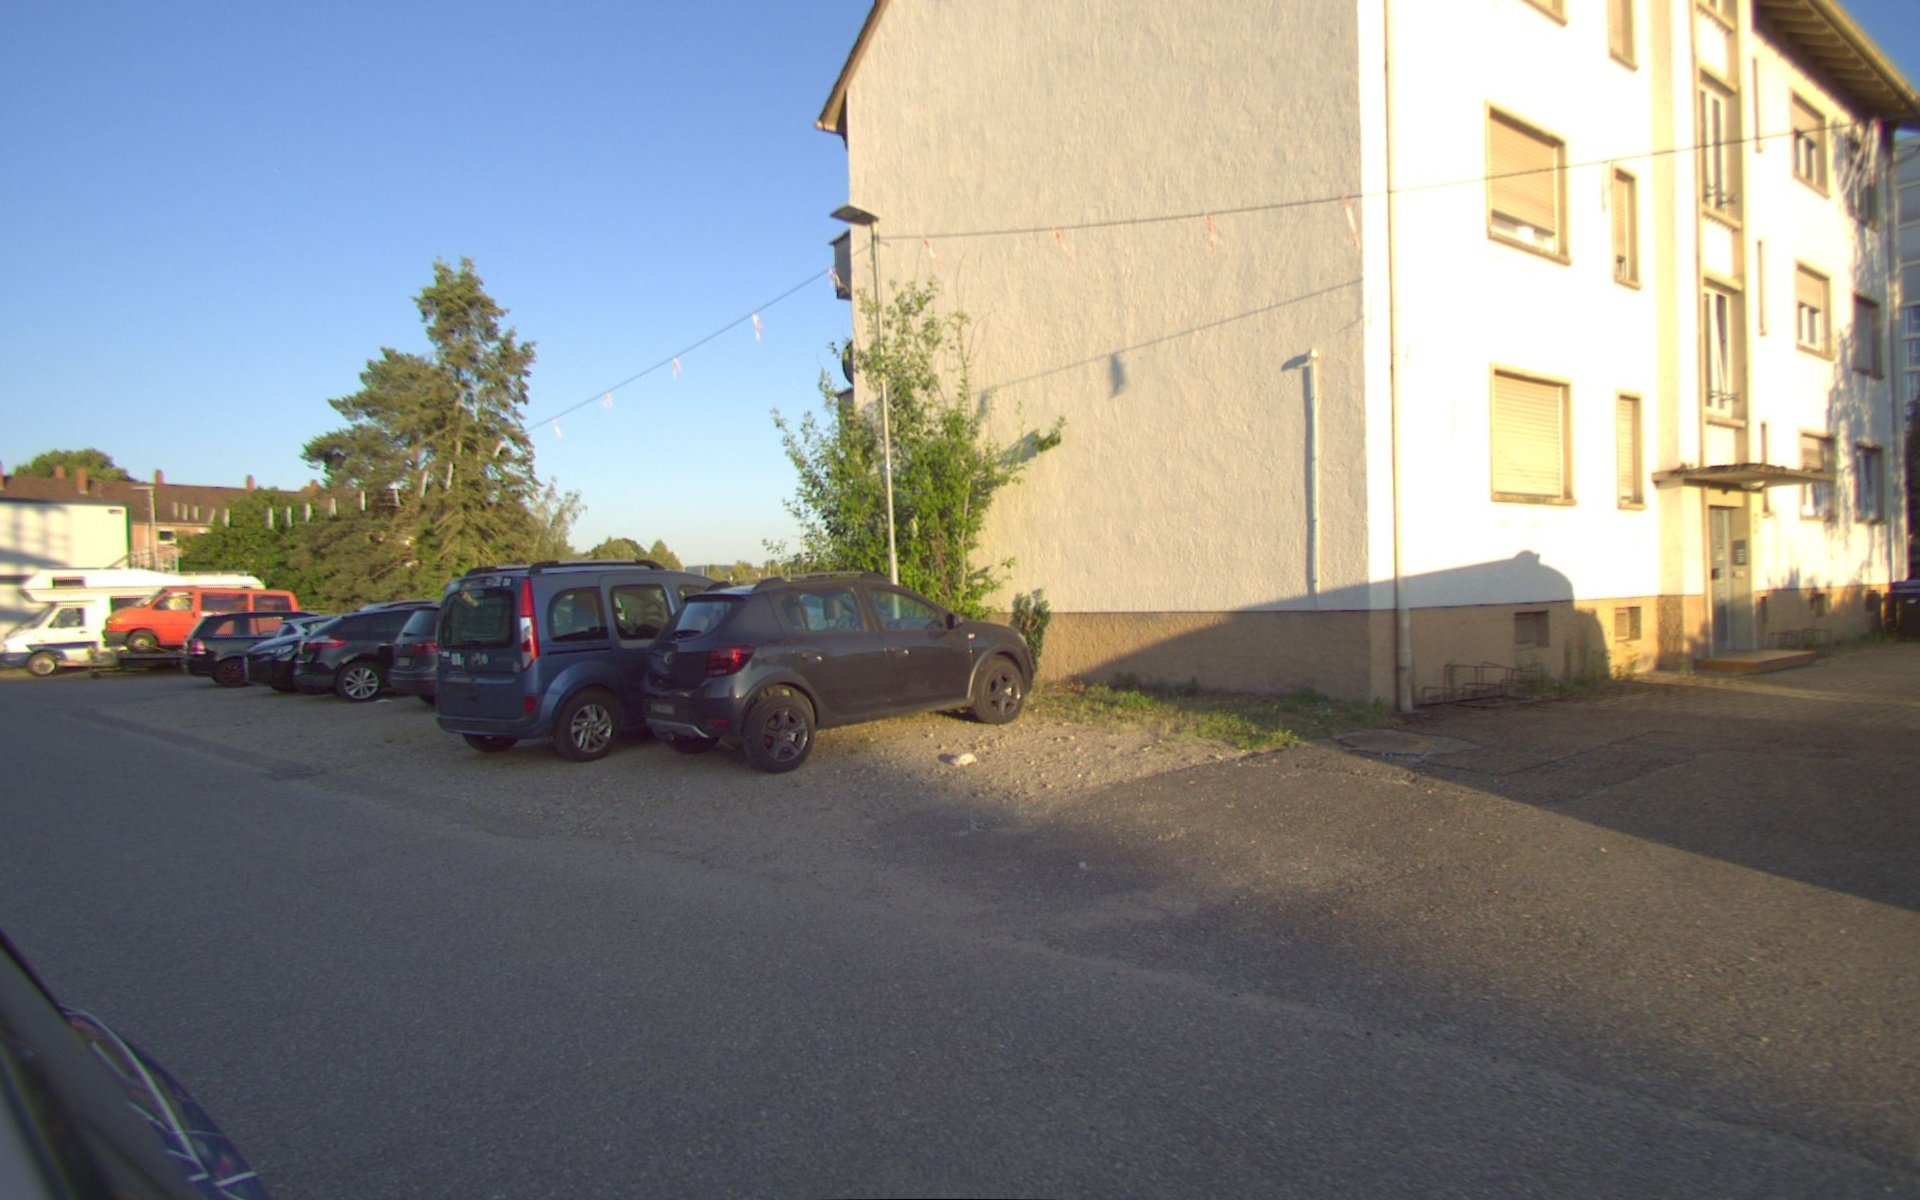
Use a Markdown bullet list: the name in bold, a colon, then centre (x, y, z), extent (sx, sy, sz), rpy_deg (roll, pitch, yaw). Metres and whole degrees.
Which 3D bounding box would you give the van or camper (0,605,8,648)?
- **van or camper**: centre (-62.458, 1.823, 61.481), extent (2.406, 2.659, 6.388), rpy_deg (-2, 2, 41)

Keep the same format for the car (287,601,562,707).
- **car**: centre (-9.083, 0.825, 17.338), extent (3.877, 1.528, 1.646), rpy_deg (-2, 1, -41)

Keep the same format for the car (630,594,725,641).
- **car**: centre (-10.856, 0.673, 38.828), extent (1.822, 1.681, 3.941), rpy_deg (-2, 0, -44)

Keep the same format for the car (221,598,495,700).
- **car**: centre (-11.172, 0.860, 18.973), extent (1.820, 1.640, 4.045), rpy_deg (-4, -2, 42)

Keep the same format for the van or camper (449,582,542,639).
- **van or camper**: centre (-23.997, 0.534, 52.208), extent (5.799, 2.791, 2.231), rpy_deg (-1, 0, 42)

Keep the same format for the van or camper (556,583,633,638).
- **van or camper**: centre (-19.414, 0.547, 53.592), extent (2.174, 2.728, 5.760), rpy_deg (-2, 0, -37)

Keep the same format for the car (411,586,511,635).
- **car**: centre (-16.847, 0.354, 34.074), extent (1.822, 1.534, 3.940), rpy_deg (-2, 0, -45)

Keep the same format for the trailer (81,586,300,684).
- **trailer**: centre (-22.037, 0.891, 29.107), extent (4.736, 2.450, 2.136), rpy_deg (-3, 3, -43)

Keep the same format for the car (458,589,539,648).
- **car**: centre (-19.075, 0.790, 41.713), extent (1.820, 2.165, 4.830), rpy_deg (-2, -2, -39)

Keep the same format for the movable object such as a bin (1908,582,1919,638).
- **movable object such as a bin**: centre (16.978, 0.169, 17.780), extent (0.441, 0.975, 0.322), rpy_deg (-2, -1, 41)

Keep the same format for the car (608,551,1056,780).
- **car**: centre (-1.073, 0.456, 9.664), extent (3.879, 1.664, 1.750), rpy_deg (-4, 2, -42)

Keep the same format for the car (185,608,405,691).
- **car**: centre (-15.229, 1.064, 23.273), extent (3.987, 1.632, 1.852), rpy_deg (-2, 0, -41)

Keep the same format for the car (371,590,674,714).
- **car**: centre (-6.540, 0.699, 15.380), extent (3.879, 1.592, 1.645), rpy_deg (-2, -1, -43)

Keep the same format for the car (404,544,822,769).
- **car**: centre (-3.441, 0.420, 10.746), extent (1.742, 1.925, 3.896), rpy_deg (-2, 1, 32)

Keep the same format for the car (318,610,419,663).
- **car**: centre (-18.913, 1.121, 32.281), extent (1.822, 1.534, 3.940), rpy_deg (-2, 0, -45)

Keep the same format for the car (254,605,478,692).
- **car**: centre (-12.822, 1.006, 21.948), extent (3.877, 1.532, 1.811), rpy_deg (-3, 0, -41)

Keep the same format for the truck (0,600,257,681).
- **truck**: centre (-24.892, 1.126, 30.285), extent (2.355, 2.058, 5.947), rpy_deg (-1, 0, 43)

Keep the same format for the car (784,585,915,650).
- **car**: centre (-3.189, 0.472, 28.522), extent (1.819, 1.643, 4.328), rpy_deg (-2, 0, -34)
